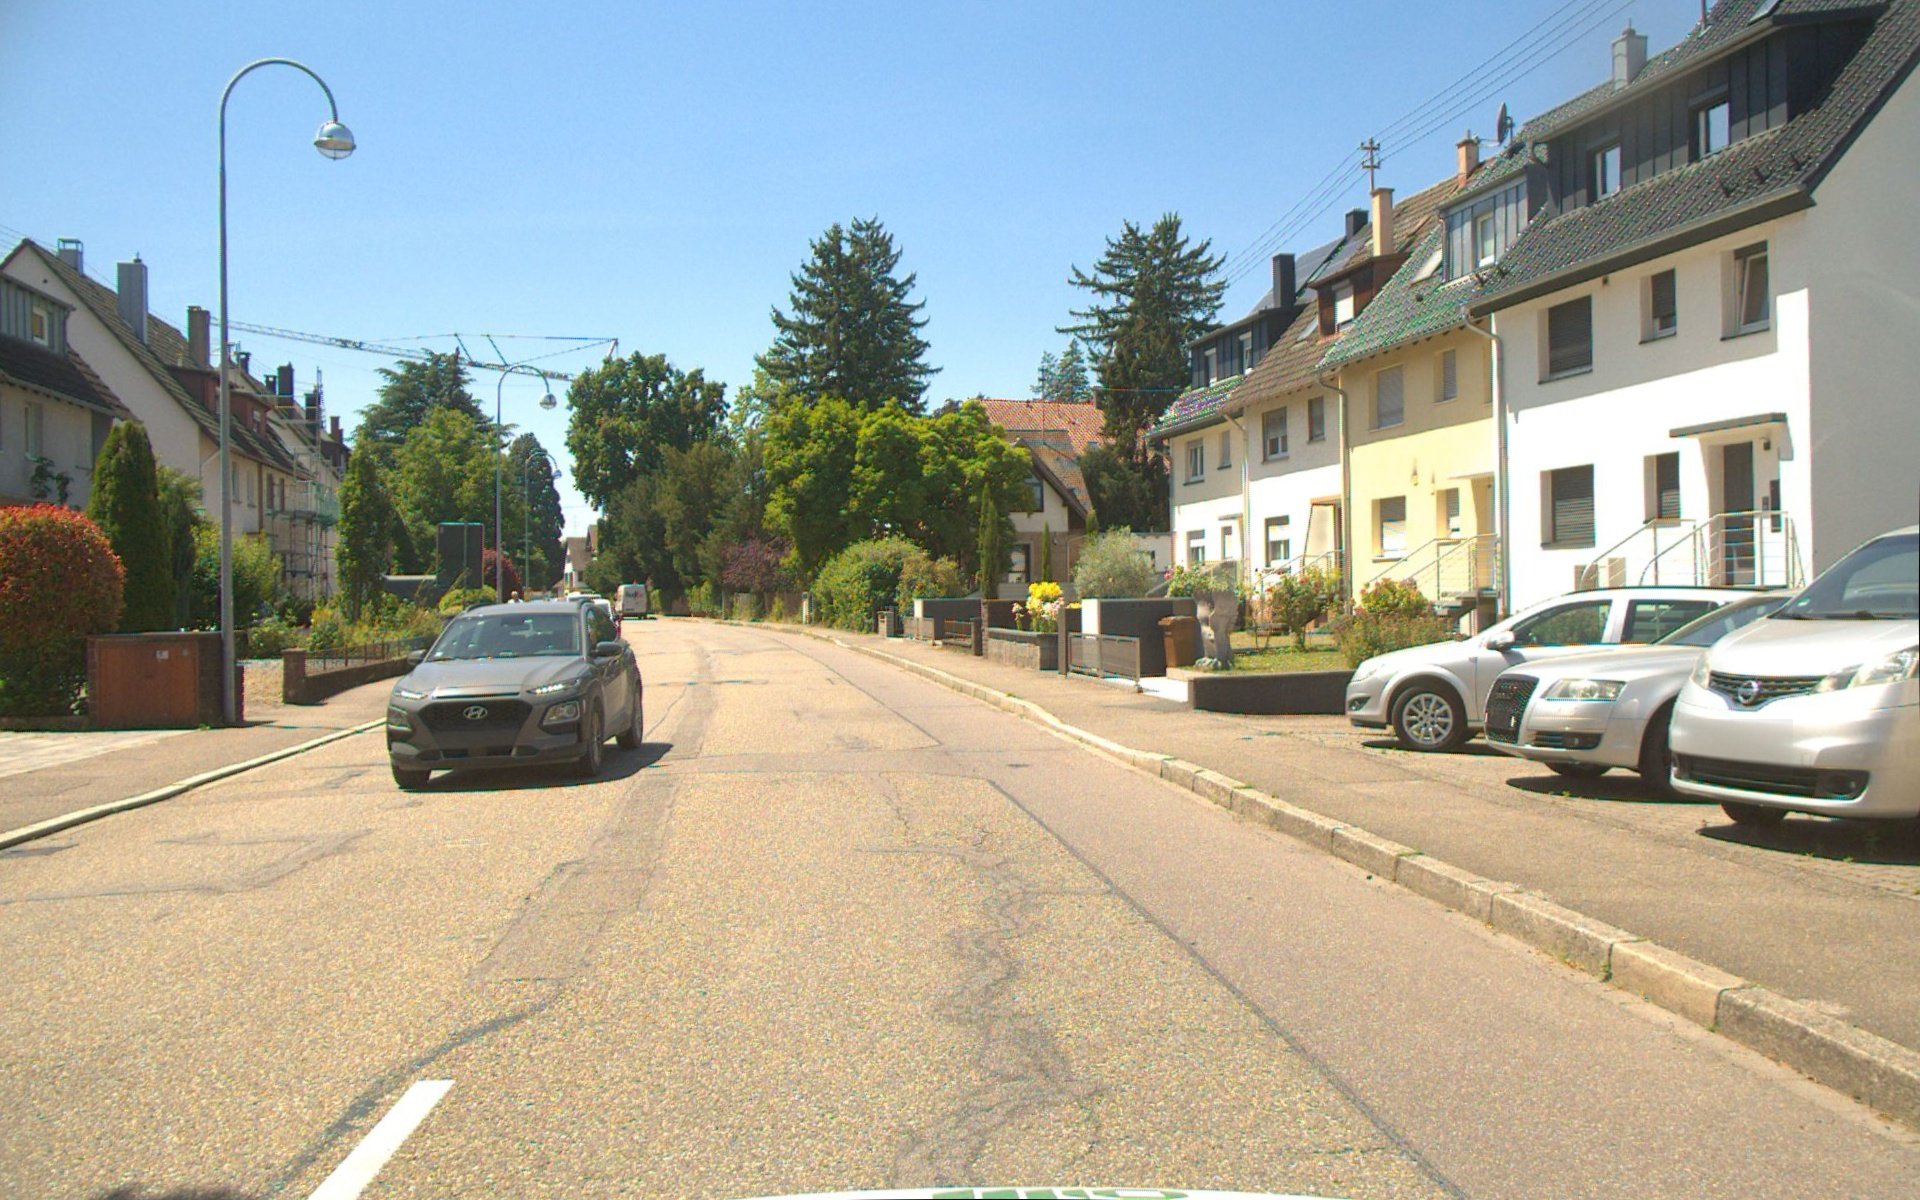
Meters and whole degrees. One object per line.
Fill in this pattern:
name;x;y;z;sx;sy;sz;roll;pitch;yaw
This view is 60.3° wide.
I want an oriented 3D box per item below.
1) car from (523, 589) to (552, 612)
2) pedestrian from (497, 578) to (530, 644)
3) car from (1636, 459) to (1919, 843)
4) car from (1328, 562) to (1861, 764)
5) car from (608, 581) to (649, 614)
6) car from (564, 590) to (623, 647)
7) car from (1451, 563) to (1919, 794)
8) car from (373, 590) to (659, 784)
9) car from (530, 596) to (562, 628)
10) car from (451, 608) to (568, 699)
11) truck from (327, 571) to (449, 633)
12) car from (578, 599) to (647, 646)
car;-34.297;0.027;134.148;1.824;1.700;4.685;-3;1;-20
pedestrian;-13.434;0.338;49.799;0.676;1.922;1.018;4;-1;-5
car;6.234;0.310;9.410;4.219;1.863;1.732;2;0;-15
car;5.600;0.504;14.805;4.206;1.575;1.755;1;-1;26
car;-25.119;-0.202;125.158;2.114;2.355;4.821;-3;1;-21
car;-12.239;0.597;55.451;1.692;1.766;3.877;-3;1;-10
car;6.062;0.554;11.823;4.550;1.433;1.767;2;0;-6
car;-4.092;0.716;15.925;1.706;1.531;4.141;-3;0;-2
car;-24.616;0.706;98.319;1.622;1.782;4.334;-3;1;-17
car;-8.350;0.934;30.898;1.549;1.448;3.933;-3;1;-8
truck;-19.501;0.052;56.518;3.702;1.971;1.542;-2;1;-12
car;-12.702;0.792;60.637;1.725;1.503;4.056;-3;1;-2
